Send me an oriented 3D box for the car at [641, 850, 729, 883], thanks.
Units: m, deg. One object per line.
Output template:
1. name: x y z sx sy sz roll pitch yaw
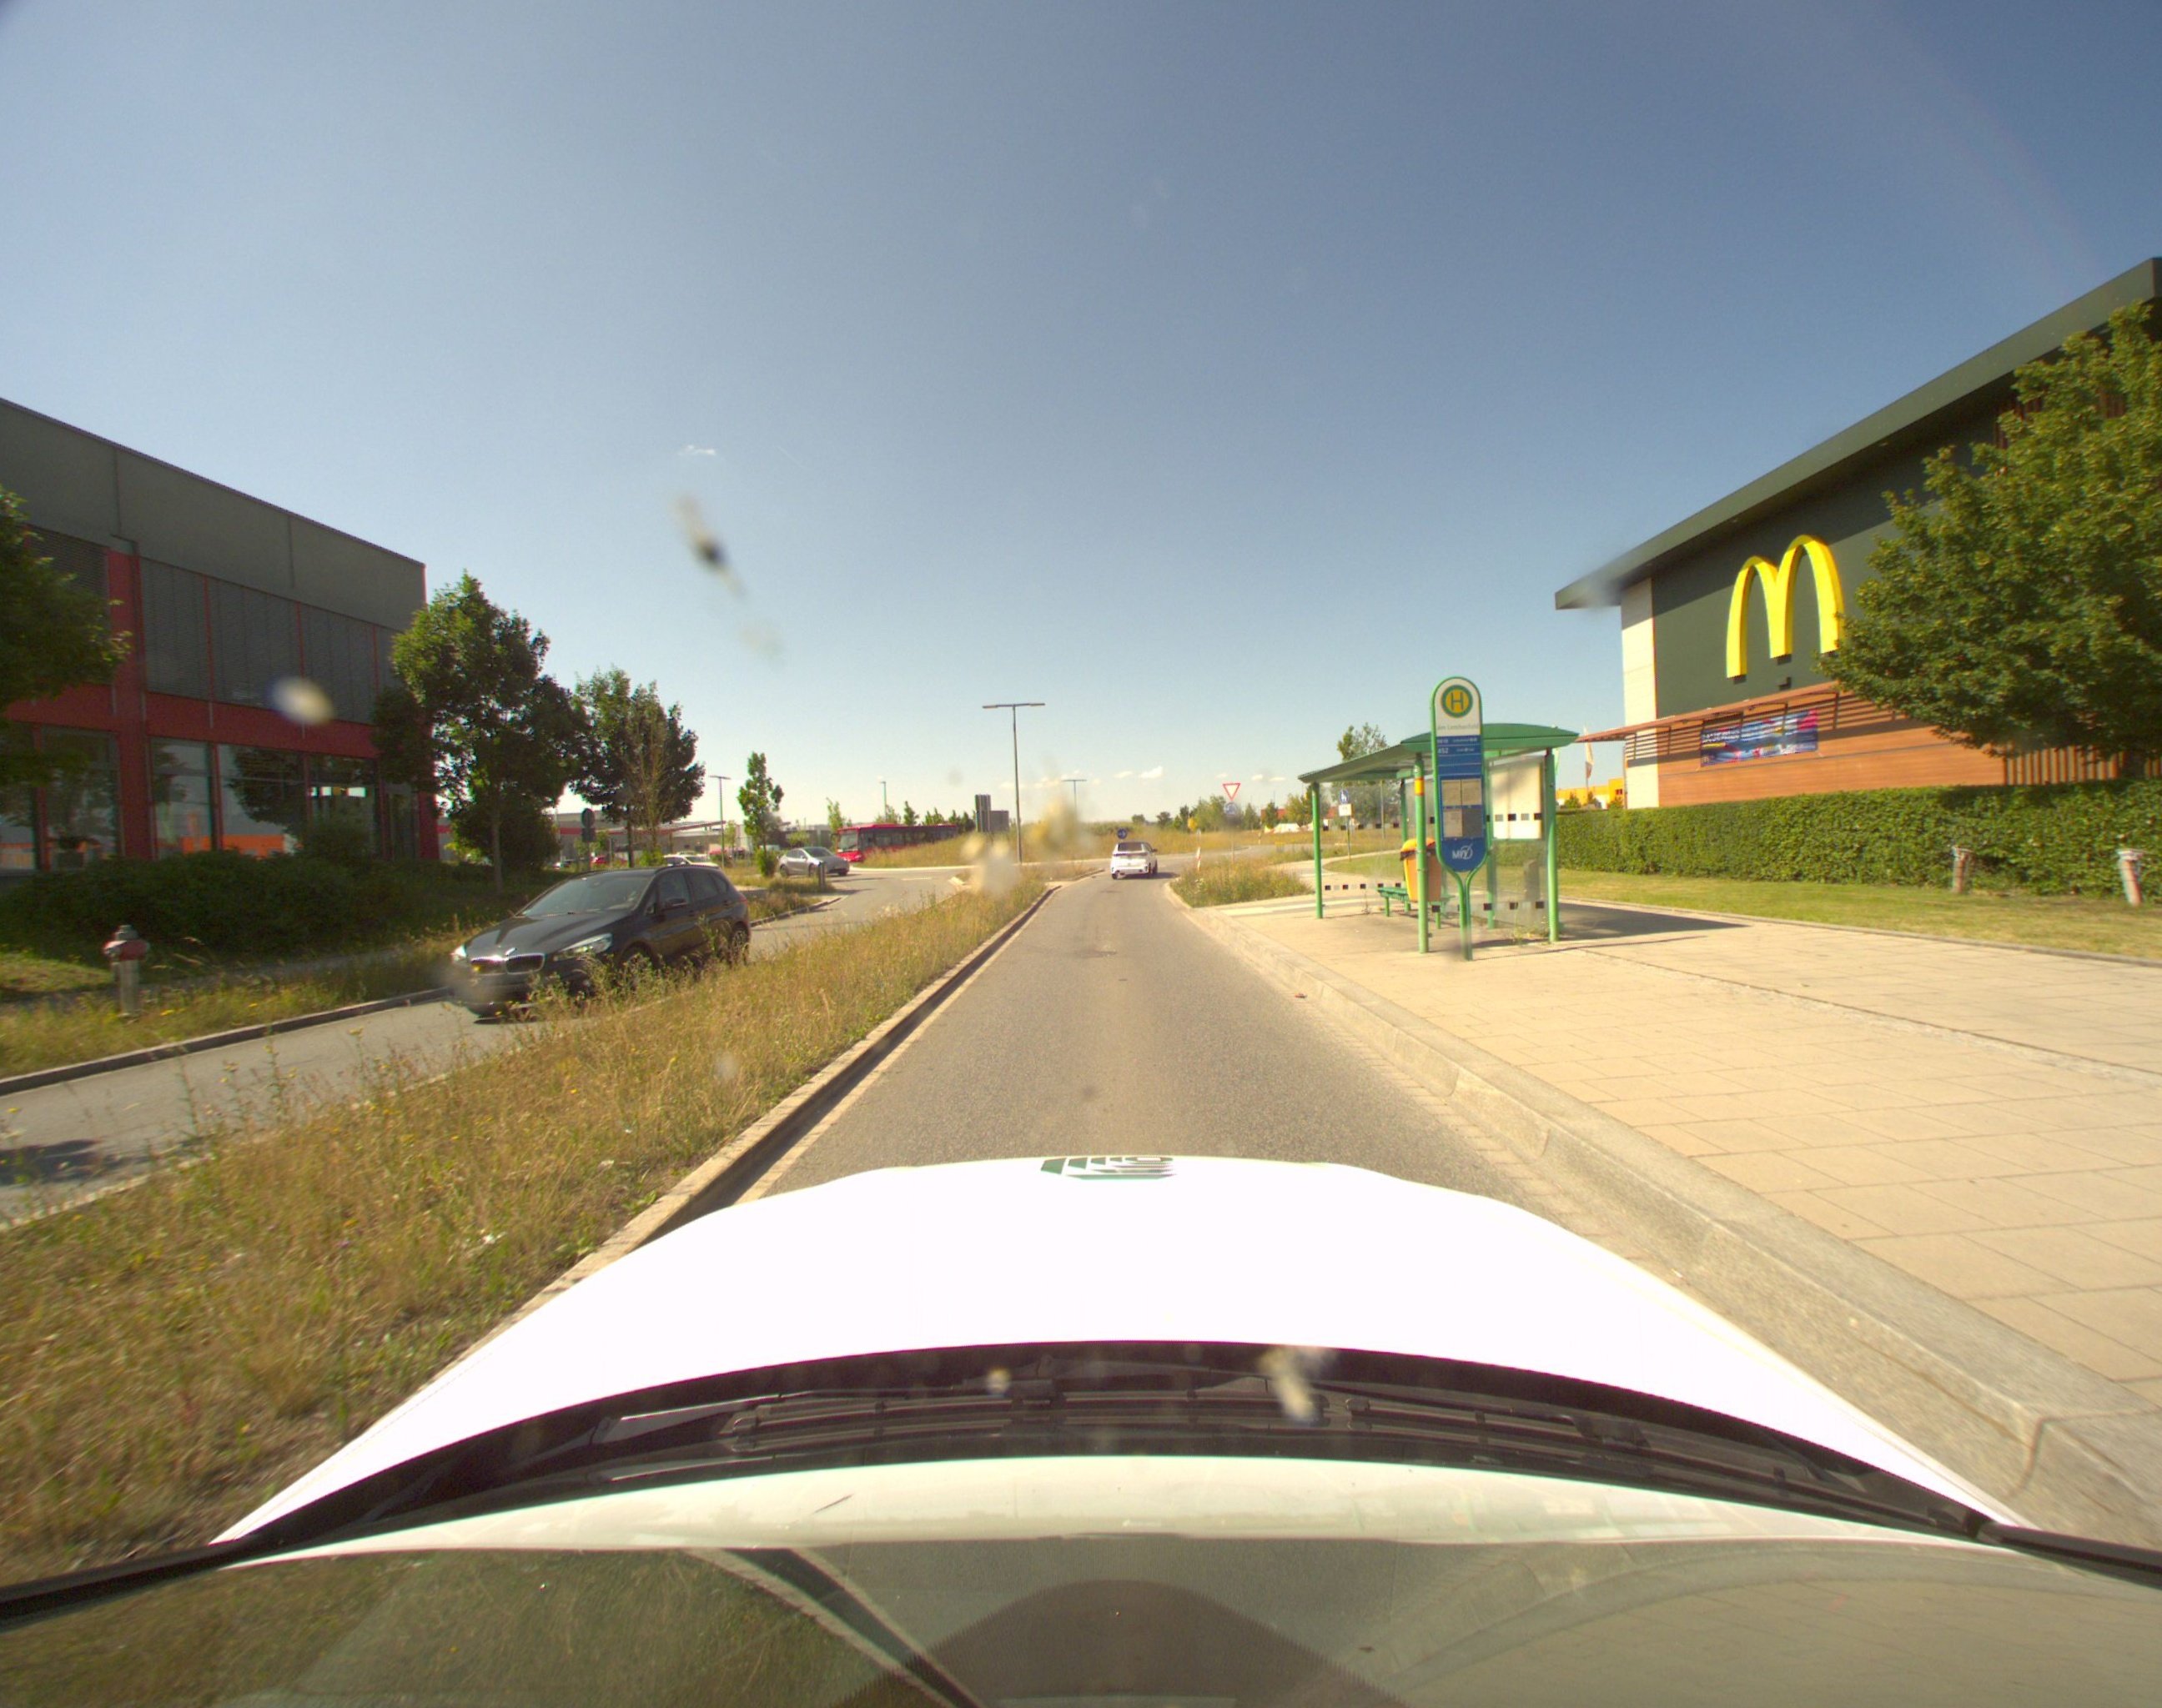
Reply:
1. car: -24.315 0.771 50.070 4.543 1.665 1.854 -4 2 13

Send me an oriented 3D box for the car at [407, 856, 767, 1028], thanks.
1. car: -5.781 0.889 10.301 1.752 1.543 4.242 -5 1 1

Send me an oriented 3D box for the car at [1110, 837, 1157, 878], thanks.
1. car: 2.200 0.091 33.151 1.607 1.434 3.802 -2 3 8

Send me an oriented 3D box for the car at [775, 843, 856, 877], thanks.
1. car: -14.245 0.298 43.592 4.565 1.625 1.976 0 3 40

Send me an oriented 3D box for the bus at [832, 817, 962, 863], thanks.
1. bus: -14.824 -1.277 67.237 2.760 3.078 12.282 -3 2 30
